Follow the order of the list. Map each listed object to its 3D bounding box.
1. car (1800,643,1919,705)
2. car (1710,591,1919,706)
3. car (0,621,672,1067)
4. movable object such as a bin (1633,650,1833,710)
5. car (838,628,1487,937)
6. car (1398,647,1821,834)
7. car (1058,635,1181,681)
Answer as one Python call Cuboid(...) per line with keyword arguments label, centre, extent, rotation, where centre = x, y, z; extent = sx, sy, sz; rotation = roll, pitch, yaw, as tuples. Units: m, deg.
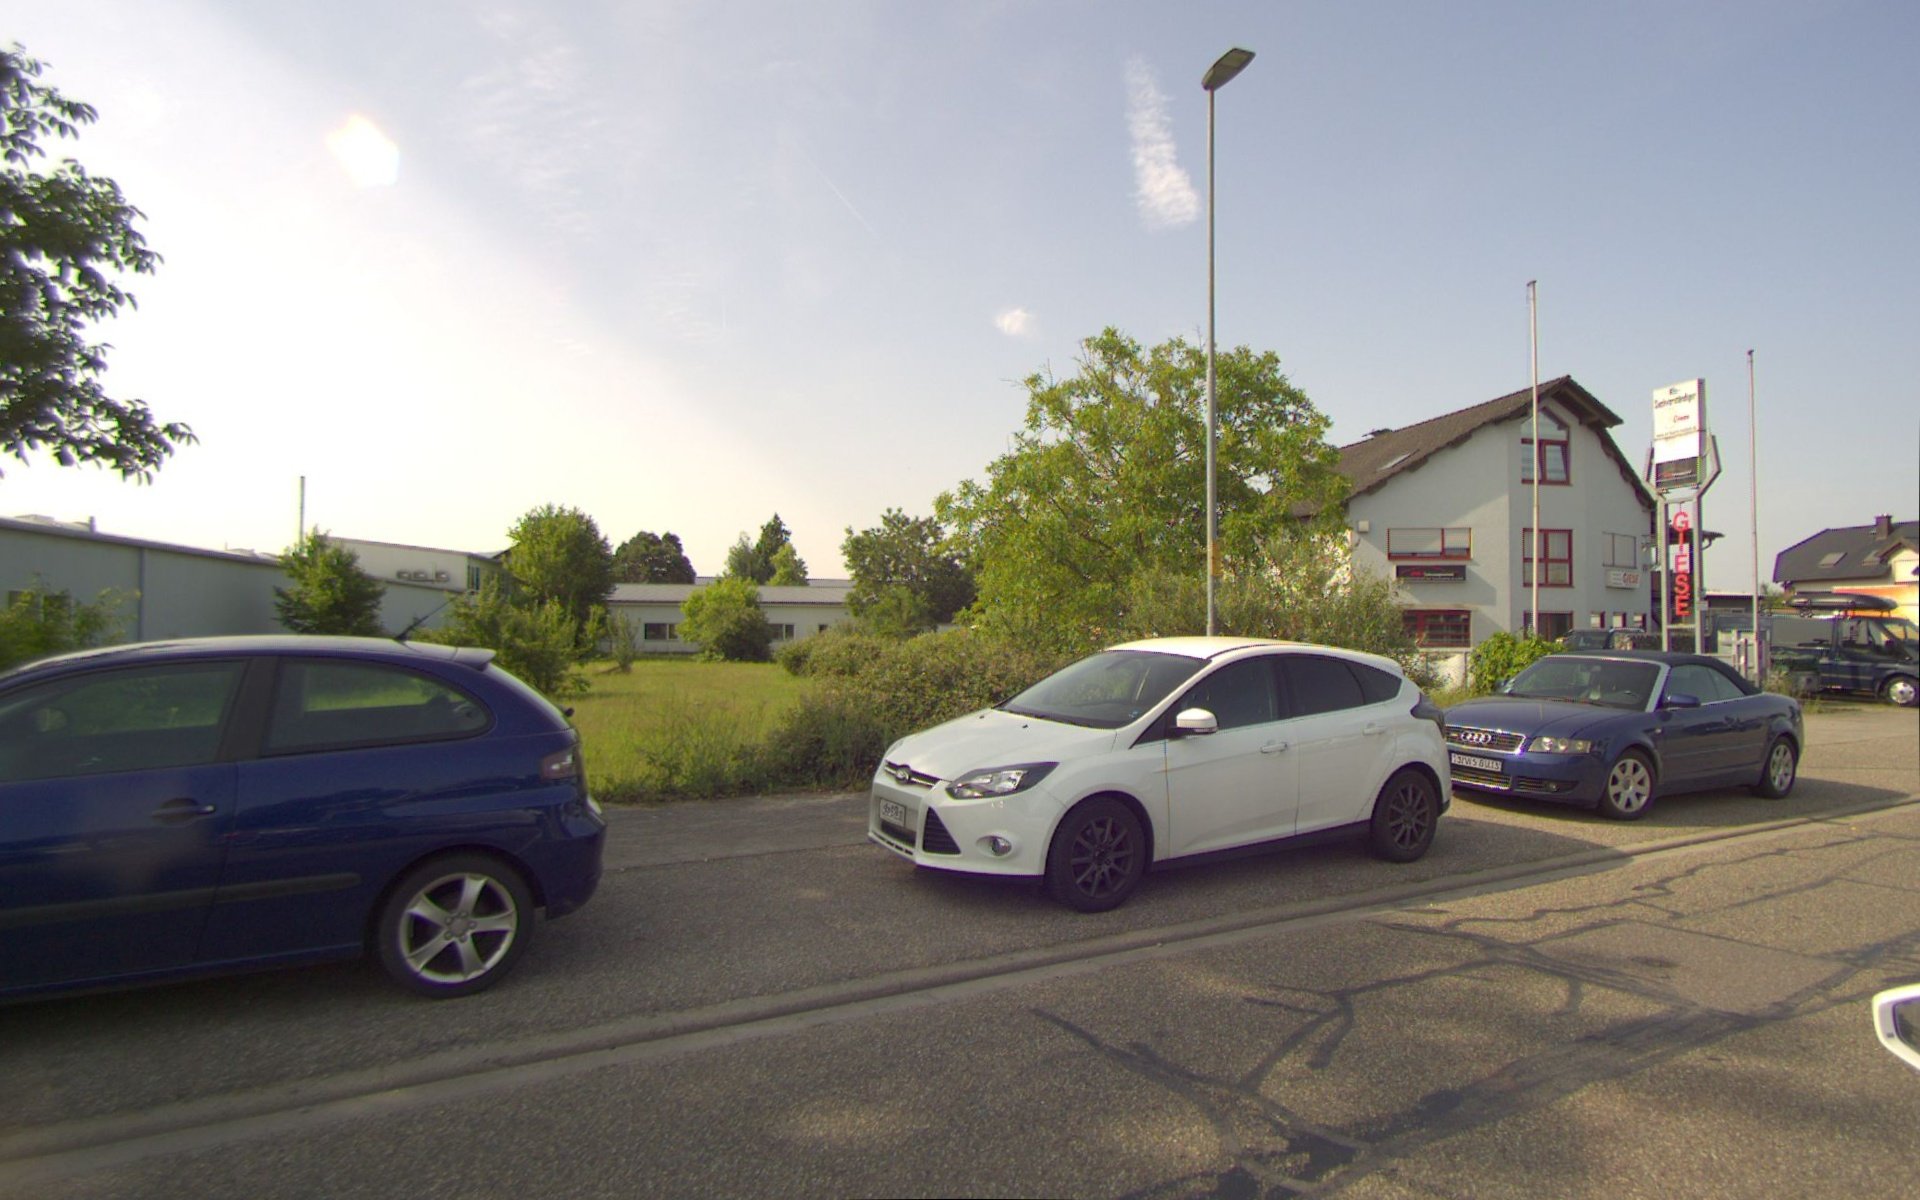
Cuboid(label="car", centre=(23.783, 1.858, 25.378), extent=(1.743, 1.433, 3.568), rotation=(2, -1, -32))
Cuboid(label="car", centre=(20.603, 1.120, 23.409), extent=(1.974, 2.448, 4.612), rotation=(1, -3, -26))
Cuboid(label="car", centre=(-3.362, 0.844, 4.184), extent=(3.913, 1.463, 1.572), rotation=(2, -1, -28))
Cuboid(label="movable object such as a bin", centre=(17.934, 1.824, 23.465), extent=(1.735, 1.162, 3.319), rotation=(1, -1, -20))
Cuboid(label="car", centre=(1.462, 0.985, 6.750), extent=(4.203, 1.489, 1.676), rotation=(2, -1, -30))
Cuboid(label="car", centre=(6.324, 1.198, 9.663), extent=(4.317, 1.405, 1.626), rotation=(2, -1, -30))
Cuboid(label="car", centre=(7.090, 2.544, 44.579), extent=(5.175, 1.940, 1.844), rotation=(-1, -3, 19))
